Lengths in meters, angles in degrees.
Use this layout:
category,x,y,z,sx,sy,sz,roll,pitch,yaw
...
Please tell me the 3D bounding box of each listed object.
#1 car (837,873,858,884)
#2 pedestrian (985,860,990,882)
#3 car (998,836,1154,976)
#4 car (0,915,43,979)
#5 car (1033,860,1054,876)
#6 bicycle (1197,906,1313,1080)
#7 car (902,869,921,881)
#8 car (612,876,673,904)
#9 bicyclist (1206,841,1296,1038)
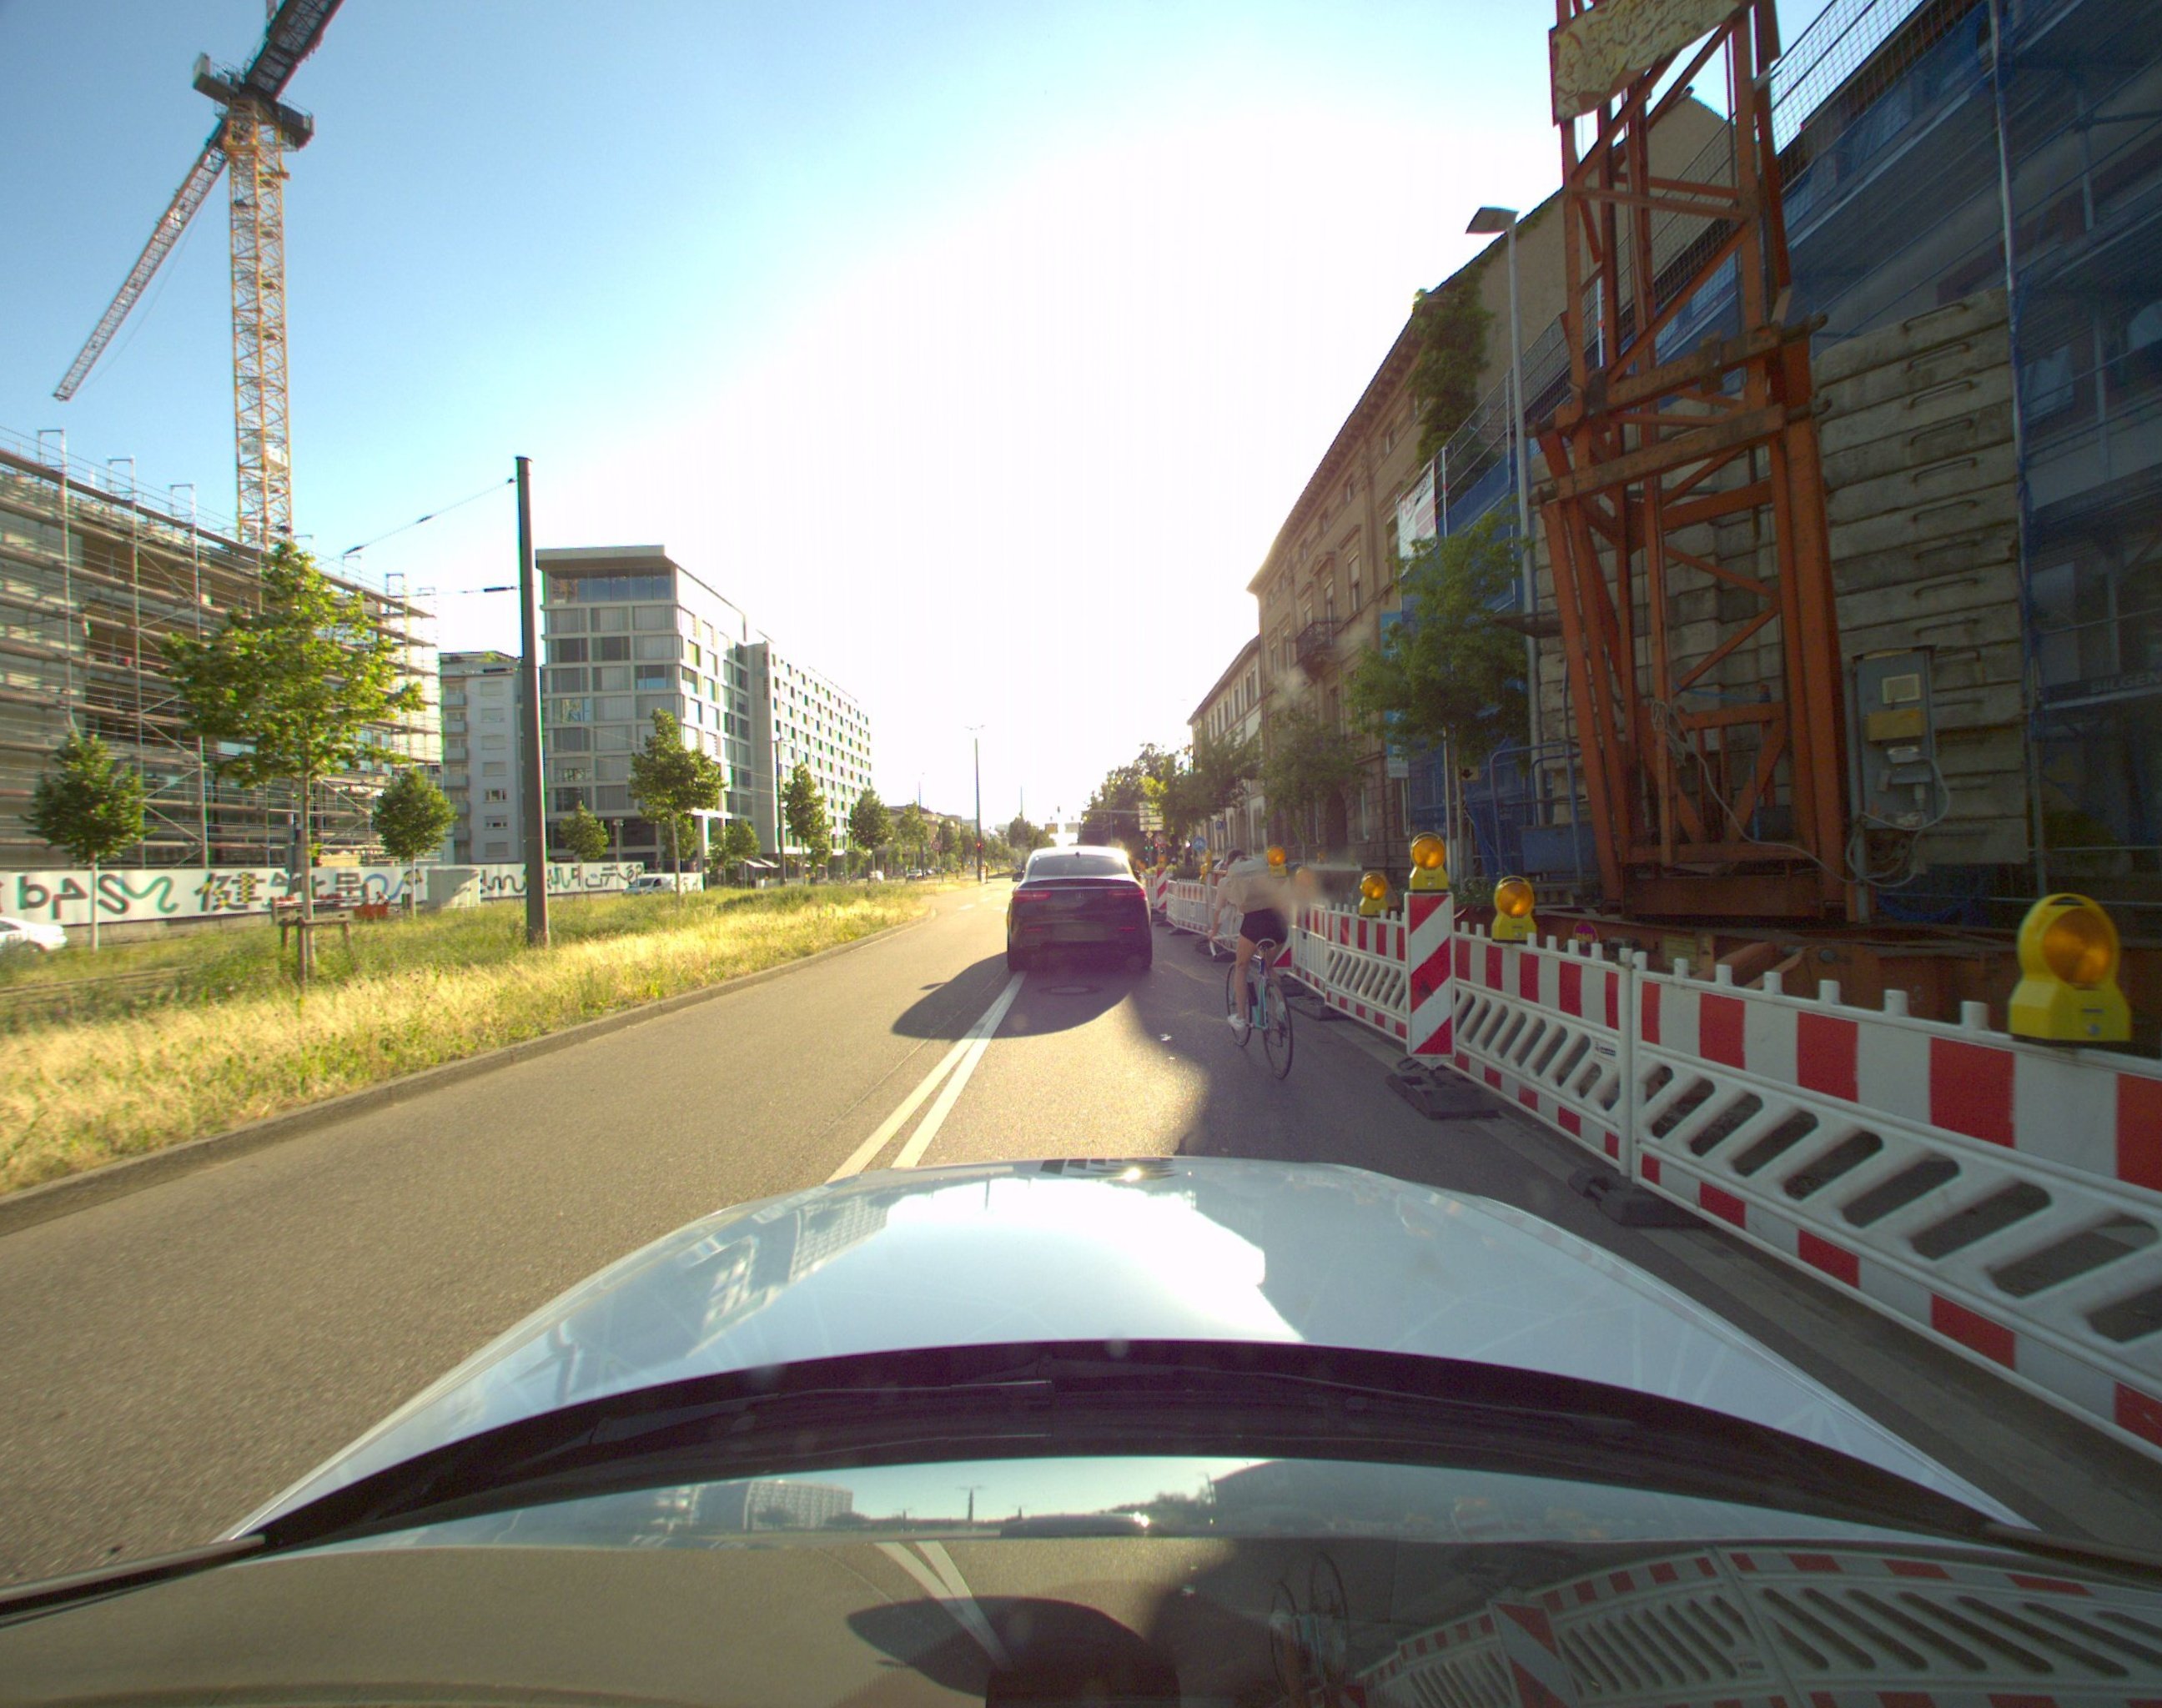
category,x,y,z,sx,sy,sz,roll,pitch,yaw
car,-31.130,3.262,108.743,1.703,1.442,3.582,-1,-1,0
pedestrian,-7.473,1.386,65.172,0.333,1.763,0.418,-1,-1,0
car,0.020,0.685,12.438,1.986,1.772,4.002,-1,-1,2
car,-30.108,2.547,21.067,1.783,1.684,3.639,-1,-1,2
car,-3.457,1.283,76.068,1.703,1.442,3.582,-2,0,0
bicycle,1.286,0.983,6.294,0.510,1.052,1.725,-1,-1,0
car,-21.926,2.710,105.474,1.703,1.442,3.582,-1,-1,0
car,-28.727,2.338,53.484,1.781,1.684,3.644,-1,-1,5
bicyclist,1.263,0.614,6.129,0.521,1.395,0.614,-1,-1,-1
